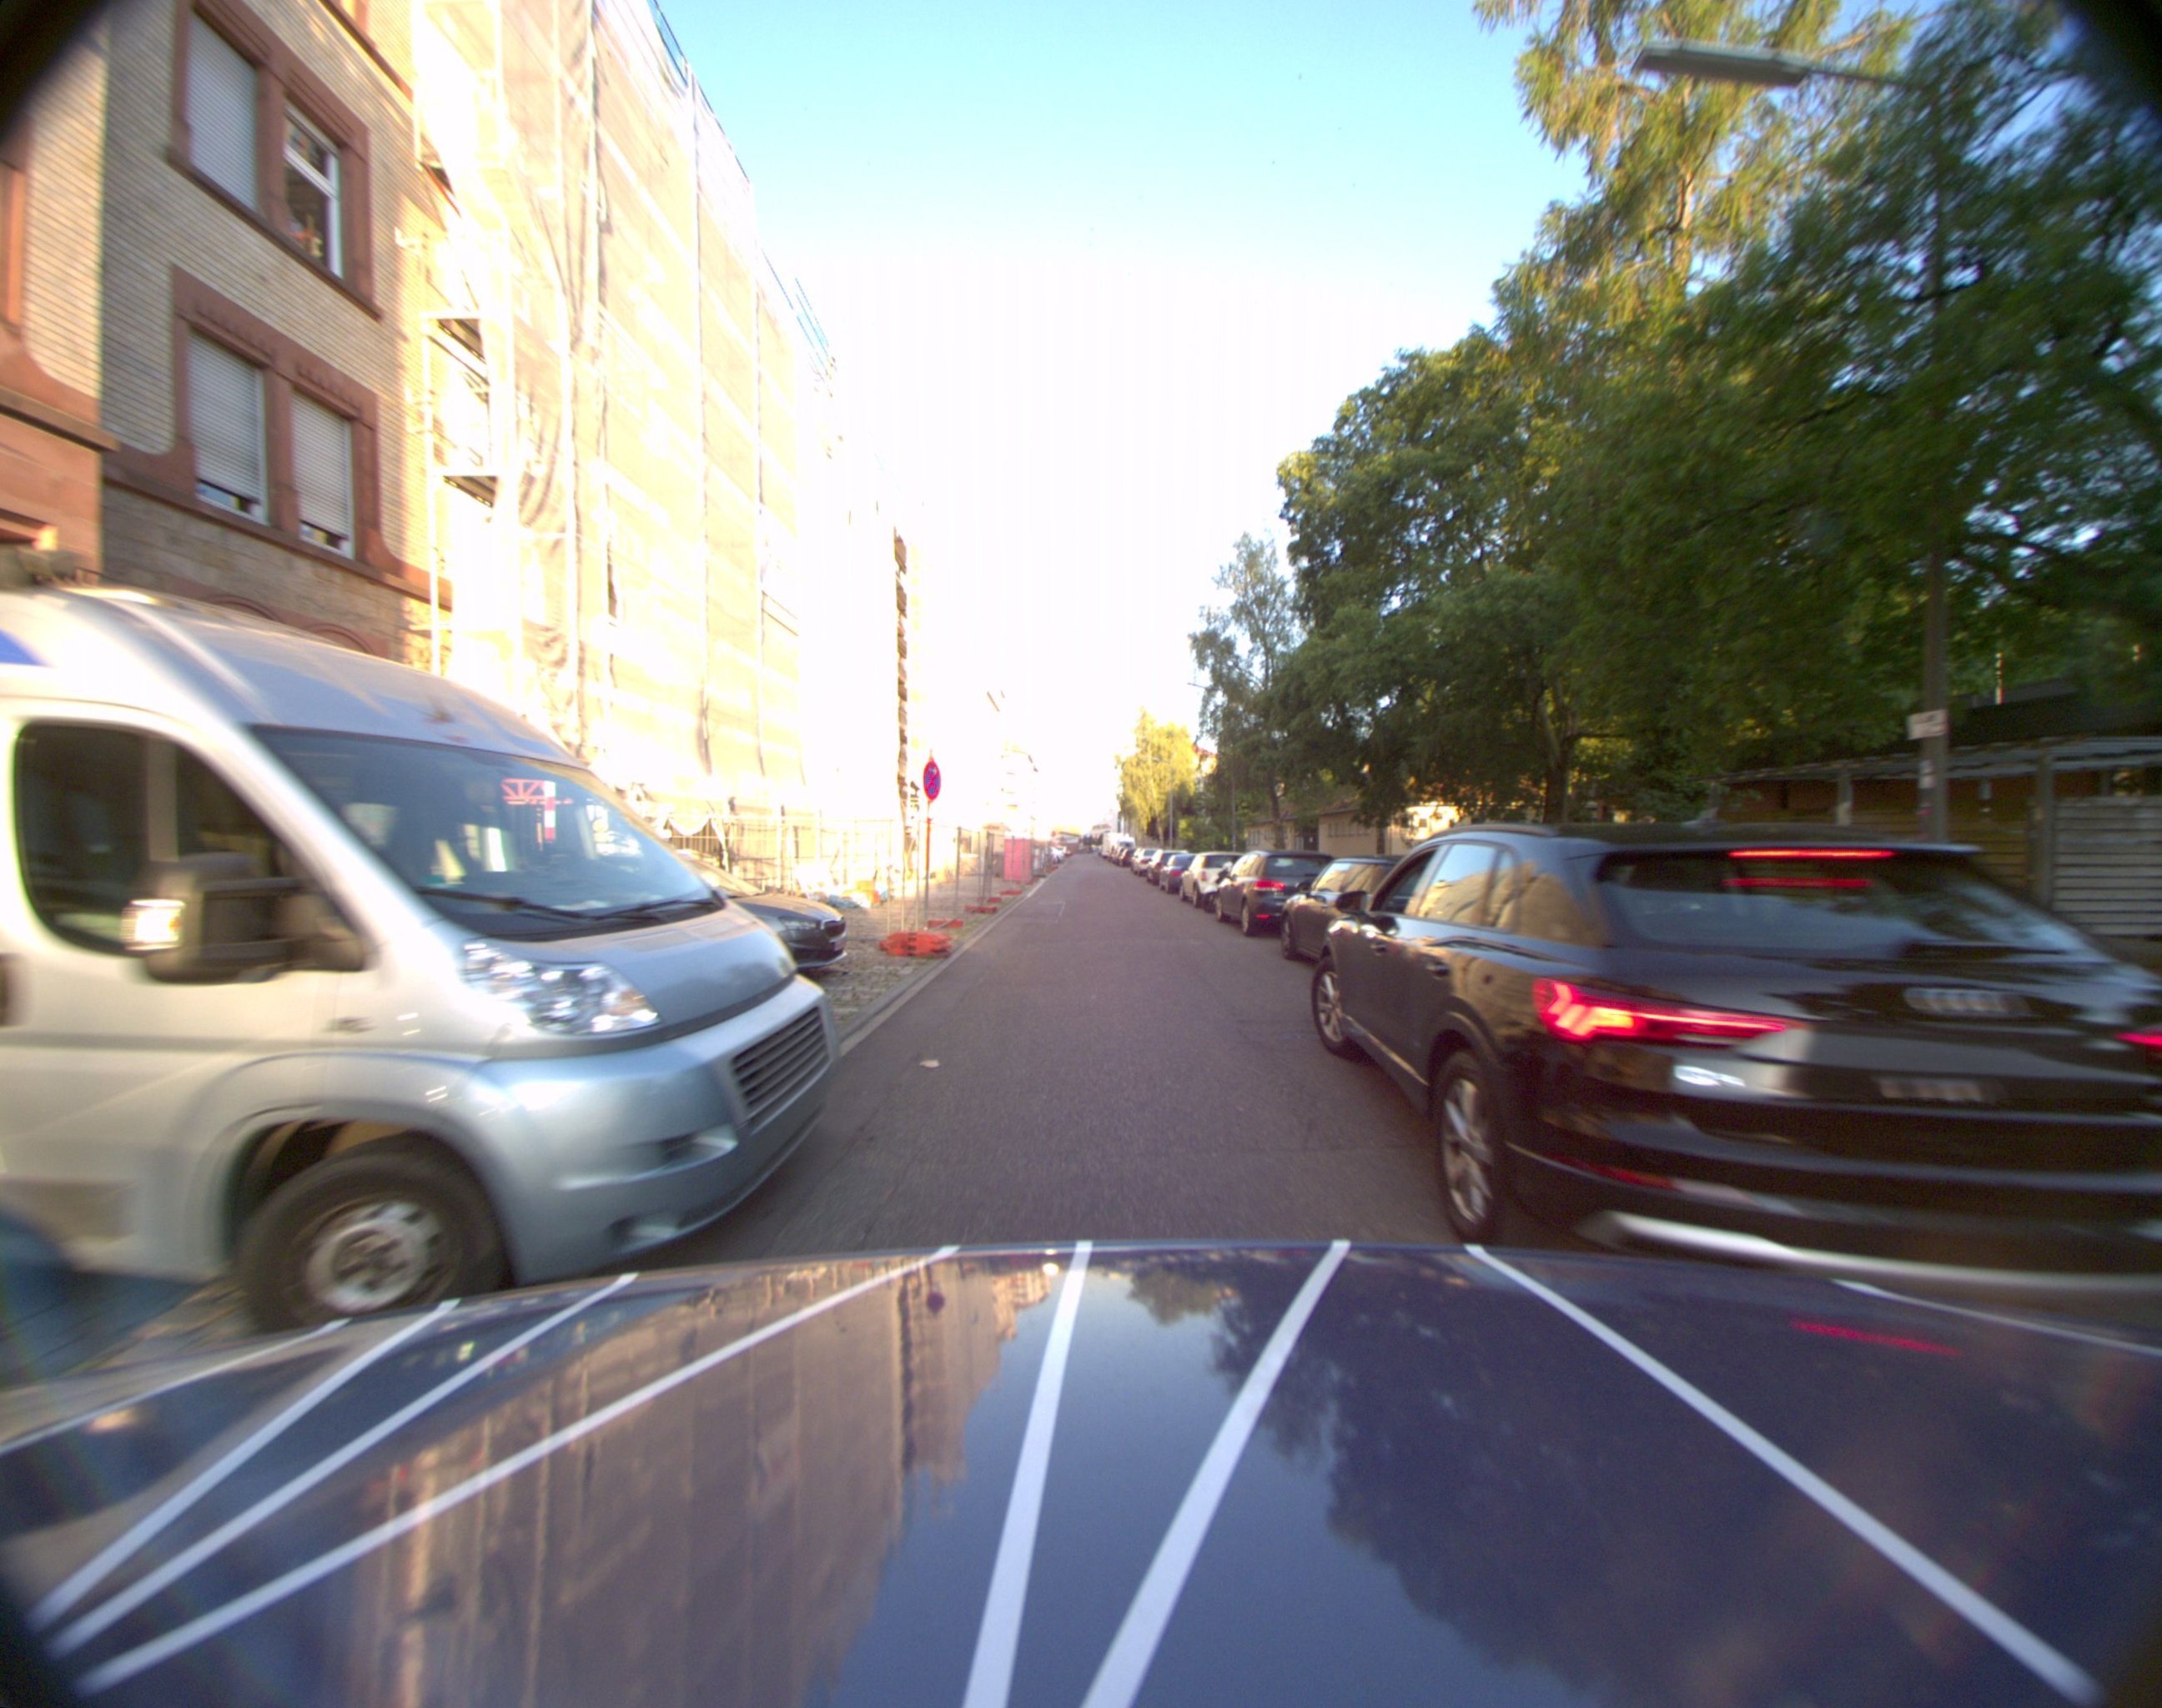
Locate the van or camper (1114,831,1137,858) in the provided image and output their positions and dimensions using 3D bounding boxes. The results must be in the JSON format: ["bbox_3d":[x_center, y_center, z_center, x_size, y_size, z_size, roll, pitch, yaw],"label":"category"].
[{"bbox_3d":[4.028,-0.854,69.108,1.825,2.401,4.290,1,1,-1],"label":"van or camper"}]

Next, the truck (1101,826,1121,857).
[{"bbox_3d":[3.783,-1.600,96.248,2.182,3.861,4.925,-2,2,1],"label":"truck"}]

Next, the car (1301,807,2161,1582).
[{"bbox_3d":[2.310,0.686,3.648,1.737,1.622,4.127,1,1,7],"label":"car"}]

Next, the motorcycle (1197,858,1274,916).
[{"bbox_3d":[3.494,0.738,17.316,1.596,1.251,0.785,-1,2,3],"label":"motorcycle"}]

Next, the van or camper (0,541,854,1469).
[{"bbox_3d":[-4.282,0.370,3.094,6.074,2.490,2.050,1,2,1],"label":"van or camper"}]

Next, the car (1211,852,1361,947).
[{"bbox_3d":[3.564,0.715,13.904,1.738,1.438,3.804,1,1,1],"label":"car"}]

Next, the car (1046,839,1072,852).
[{"bbox_3d":[-3.388,-1.318,118.199,3.997,2.002,1.999,-2,1,0],"label":"car"}]

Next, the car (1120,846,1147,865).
[{"bbox_3d":[3.973,0.108,57.765,1.738,1.359,4.290,1,1,-1],"label":"car"}]

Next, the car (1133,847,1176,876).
[{"bbox_3d":[3.763,0.356,39.536,1.738,1.359,4.290,1,1,-1],"label":"car"}]

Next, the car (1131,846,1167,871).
[{"bbox_3d":[4.023,0.247,45.697,1.738,1.359,4.290,1,1,-1],"label":"car"}]

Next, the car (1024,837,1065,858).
[{"bbox_3d":[-3.694,-0.681,77.281,3.997,2.002,1.999,-2,1,0],"label":"car"}]

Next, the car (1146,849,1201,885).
[{"bbox_3d":[3.720,0.489,31.093,1.738,1.359,3.804,1,1,-1],"label":"car"}]

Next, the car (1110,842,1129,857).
[{"bbox_3d":[3.928,-0.506,78.326,1.738,1.502,4.290,1,1,-1],"label":"car"}]

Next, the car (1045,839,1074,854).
[{"bbox_3d":[-3.069,-1.111,109.178,3.997,2.002,1.999,-2,1,0],"label":"car"}]

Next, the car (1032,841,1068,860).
[{"bbox_3d":[-3.468,-0.429,85.697,3.997,2.002,1.999,-2,1,0],"label":"car"}]

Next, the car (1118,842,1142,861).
[{"bbox_3d":[4.059,-0.255,63.714,1.738,1.502,4.290,1,1,-1],"label":"car"}]

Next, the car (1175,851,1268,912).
[{"bbox_3d":[3.653,0.662,20.352,1.738,1.417,3.804,1,1,-1],"label":"car"}]

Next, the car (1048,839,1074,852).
[{"bbox_3d":[-3.193,-1.380,120.623,3.997,2.002,1.999,-2,1,0],"label":"car"}]

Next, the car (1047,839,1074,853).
[{"bbox_3d":[-3.035,-1.199,112.616,3.997,2.002,1.999,-2,1,0],"label":"car"}]

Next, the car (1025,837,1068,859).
[{"bbox_3d":[-3.354,-0.632,74.732,3.997,2.002,1.999,-2,1,0],"label":"car"}]

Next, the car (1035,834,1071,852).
[{"bbox_3d":[-3.260,-1.309,88.926,3.997,2.002,1.999,-2,1,0],"label":"car"}]

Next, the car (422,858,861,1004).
[{"bbox_3d":[-4.813,0.810,8.770,4.059,1.432,1.684,1,2,-1],"label":"car"}]

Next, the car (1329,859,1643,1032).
[{"bbox_3d":[4.089,0.814,8.342,1.623,1.417,3.415,1,1,1],"label":"car"}]

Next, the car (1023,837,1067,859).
[{"bbox_3d":[-3.412,-0.579,72.515,3.997,2.002,1.999,-2,1,0],"label":"car"}]

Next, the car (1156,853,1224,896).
[{"bbox_3d":[3.646,0.643,25.983,1.738,1.280,3.804,1,1,-1],"label":"car"}]
